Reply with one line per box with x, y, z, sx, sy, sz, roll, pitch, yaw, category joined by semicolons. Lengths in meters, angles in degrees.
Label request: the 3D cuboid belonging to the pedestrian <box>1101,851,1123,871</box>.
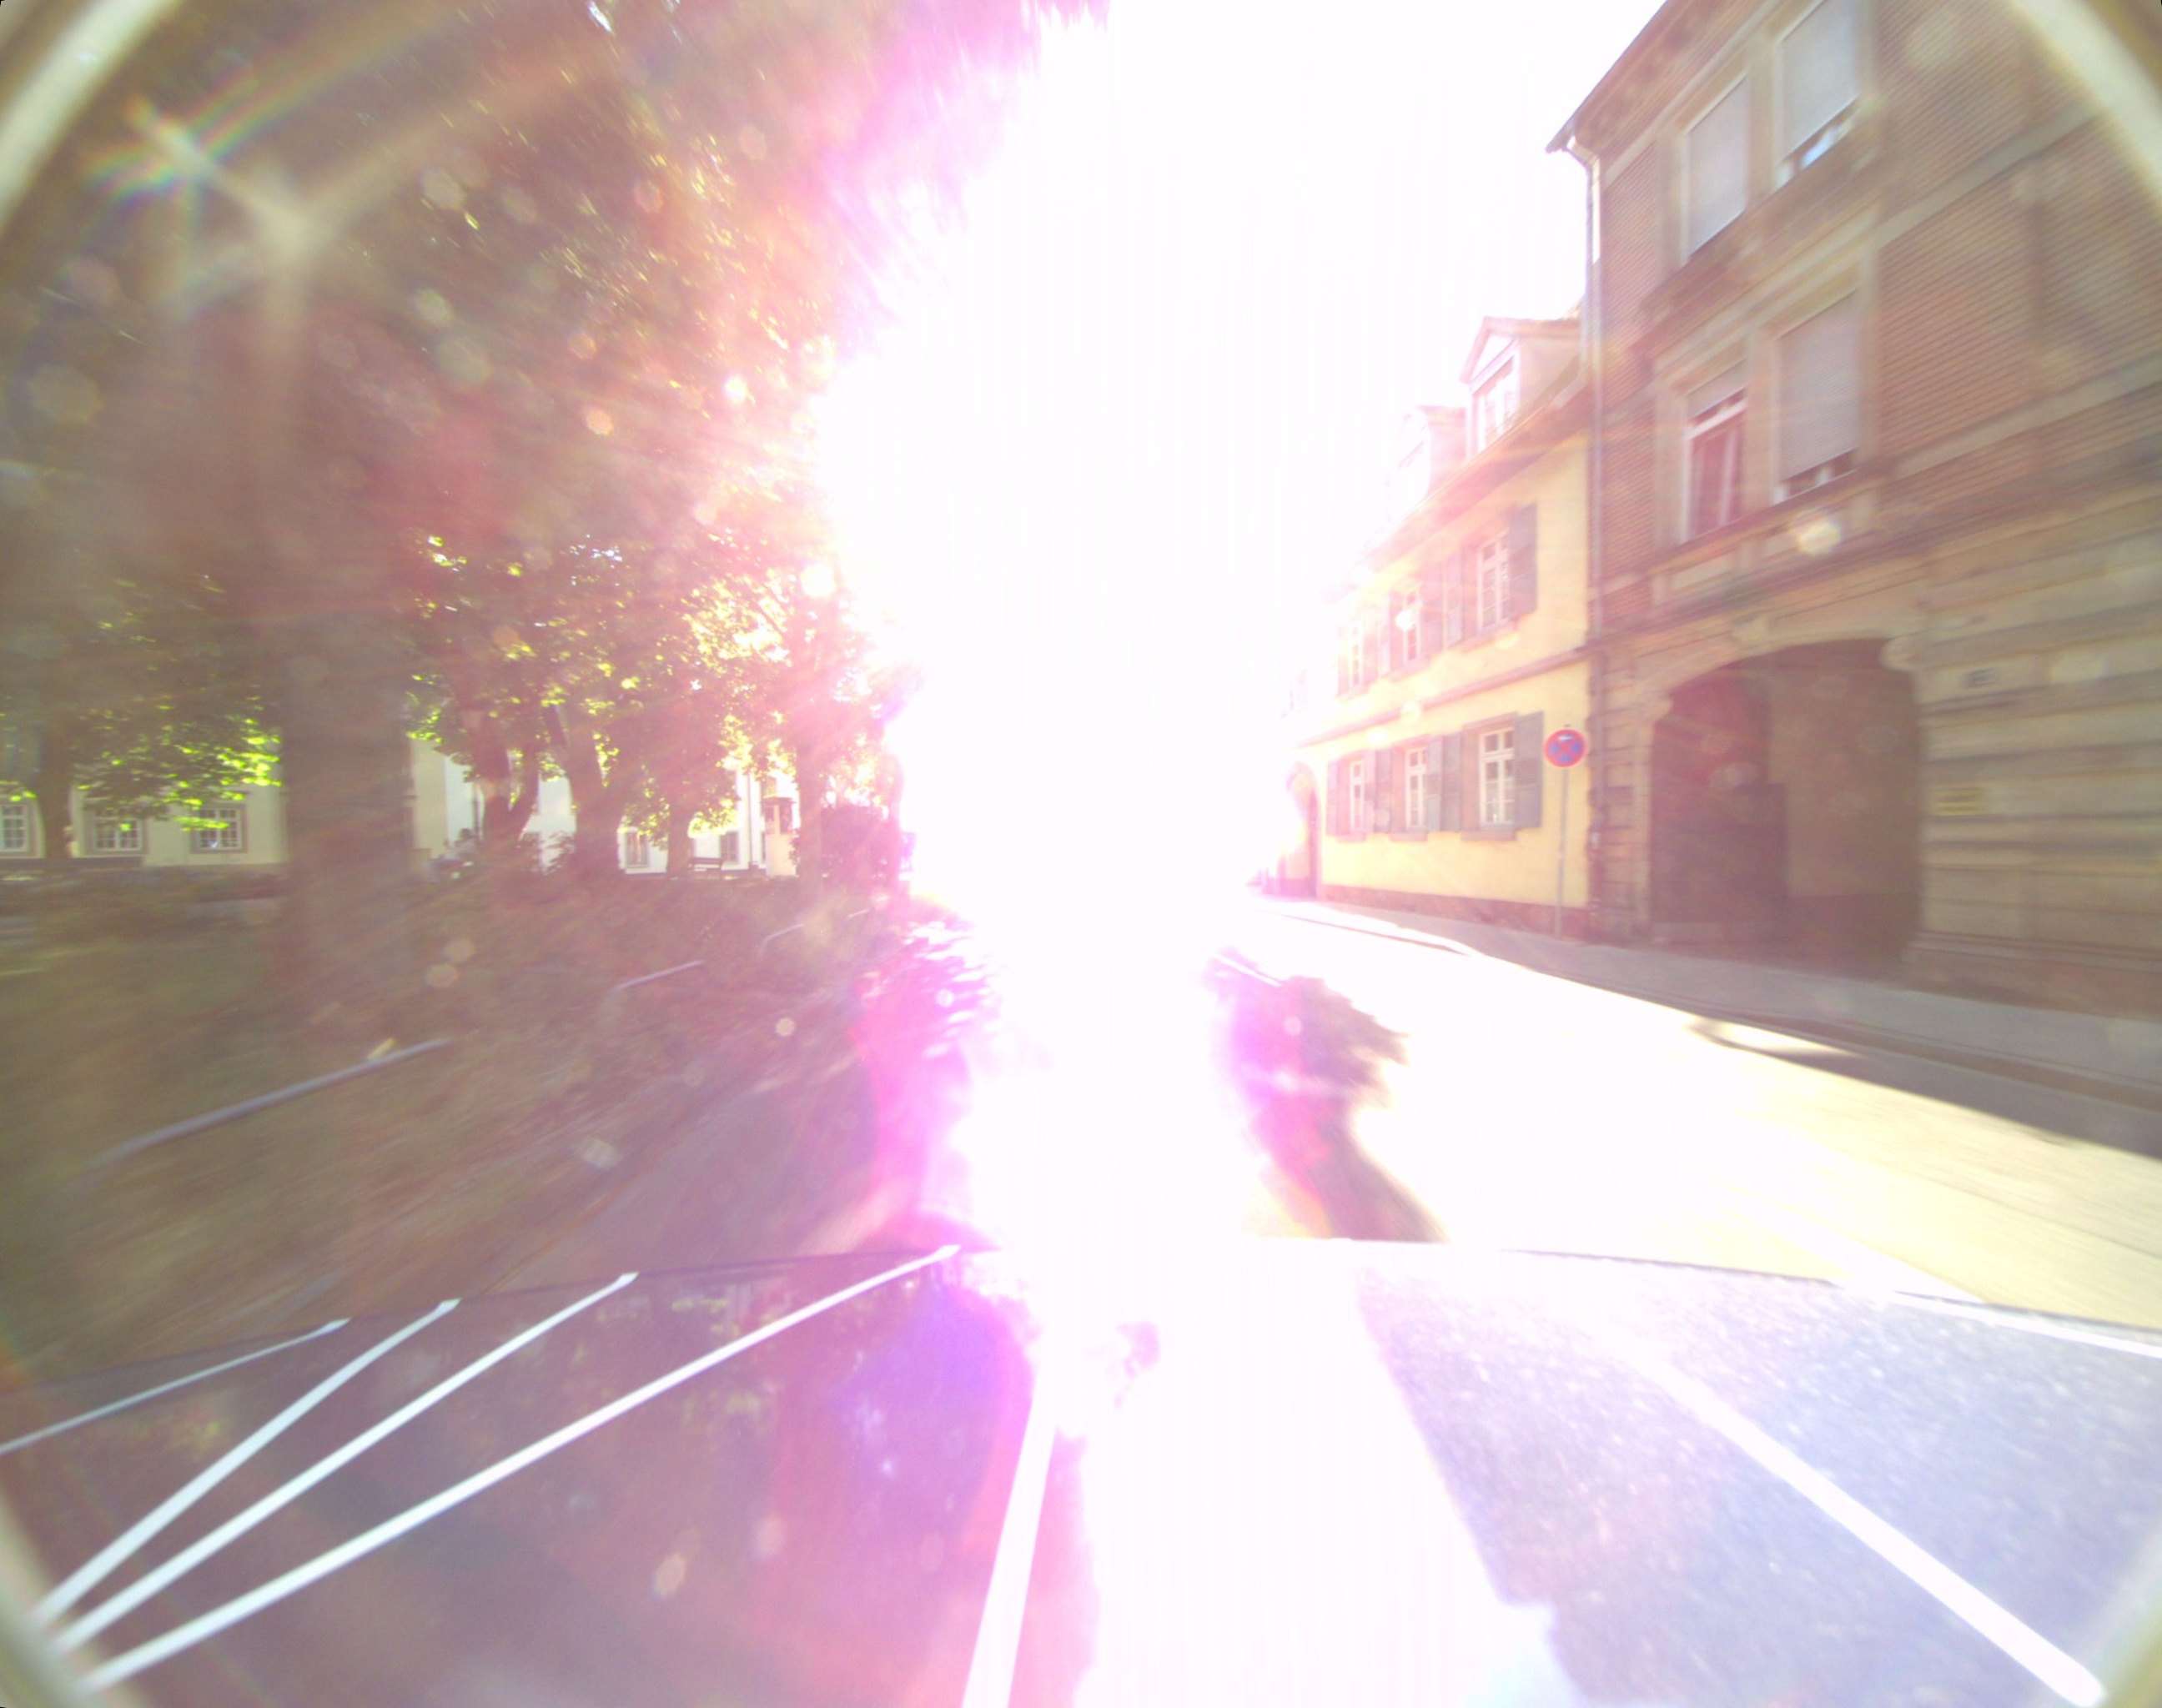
2.117;0.478;51.769;1.155;1.222;0.842;-2;2;28;pedestrian

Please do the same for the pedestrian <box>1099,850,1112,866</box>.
1.869;0.307;58.302;0.743;1.179;0.840;-4;2;-14;pedestrian

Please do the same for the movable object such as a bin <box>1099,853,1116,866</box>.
2.043;0.414;58.336;1.038;0.923;0.840;-3;2;-14;movable object such as a bin

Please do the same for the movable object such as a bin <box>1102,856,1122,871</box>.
2.137;0.624;51.761;1.035;0.923;0.842;-2;2;28;movable object such as a bin

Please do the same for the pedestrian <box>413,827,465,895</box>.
-12.774;0.134;15.127;0.697;1.310;0.680;0;1;-32;pedestrian
